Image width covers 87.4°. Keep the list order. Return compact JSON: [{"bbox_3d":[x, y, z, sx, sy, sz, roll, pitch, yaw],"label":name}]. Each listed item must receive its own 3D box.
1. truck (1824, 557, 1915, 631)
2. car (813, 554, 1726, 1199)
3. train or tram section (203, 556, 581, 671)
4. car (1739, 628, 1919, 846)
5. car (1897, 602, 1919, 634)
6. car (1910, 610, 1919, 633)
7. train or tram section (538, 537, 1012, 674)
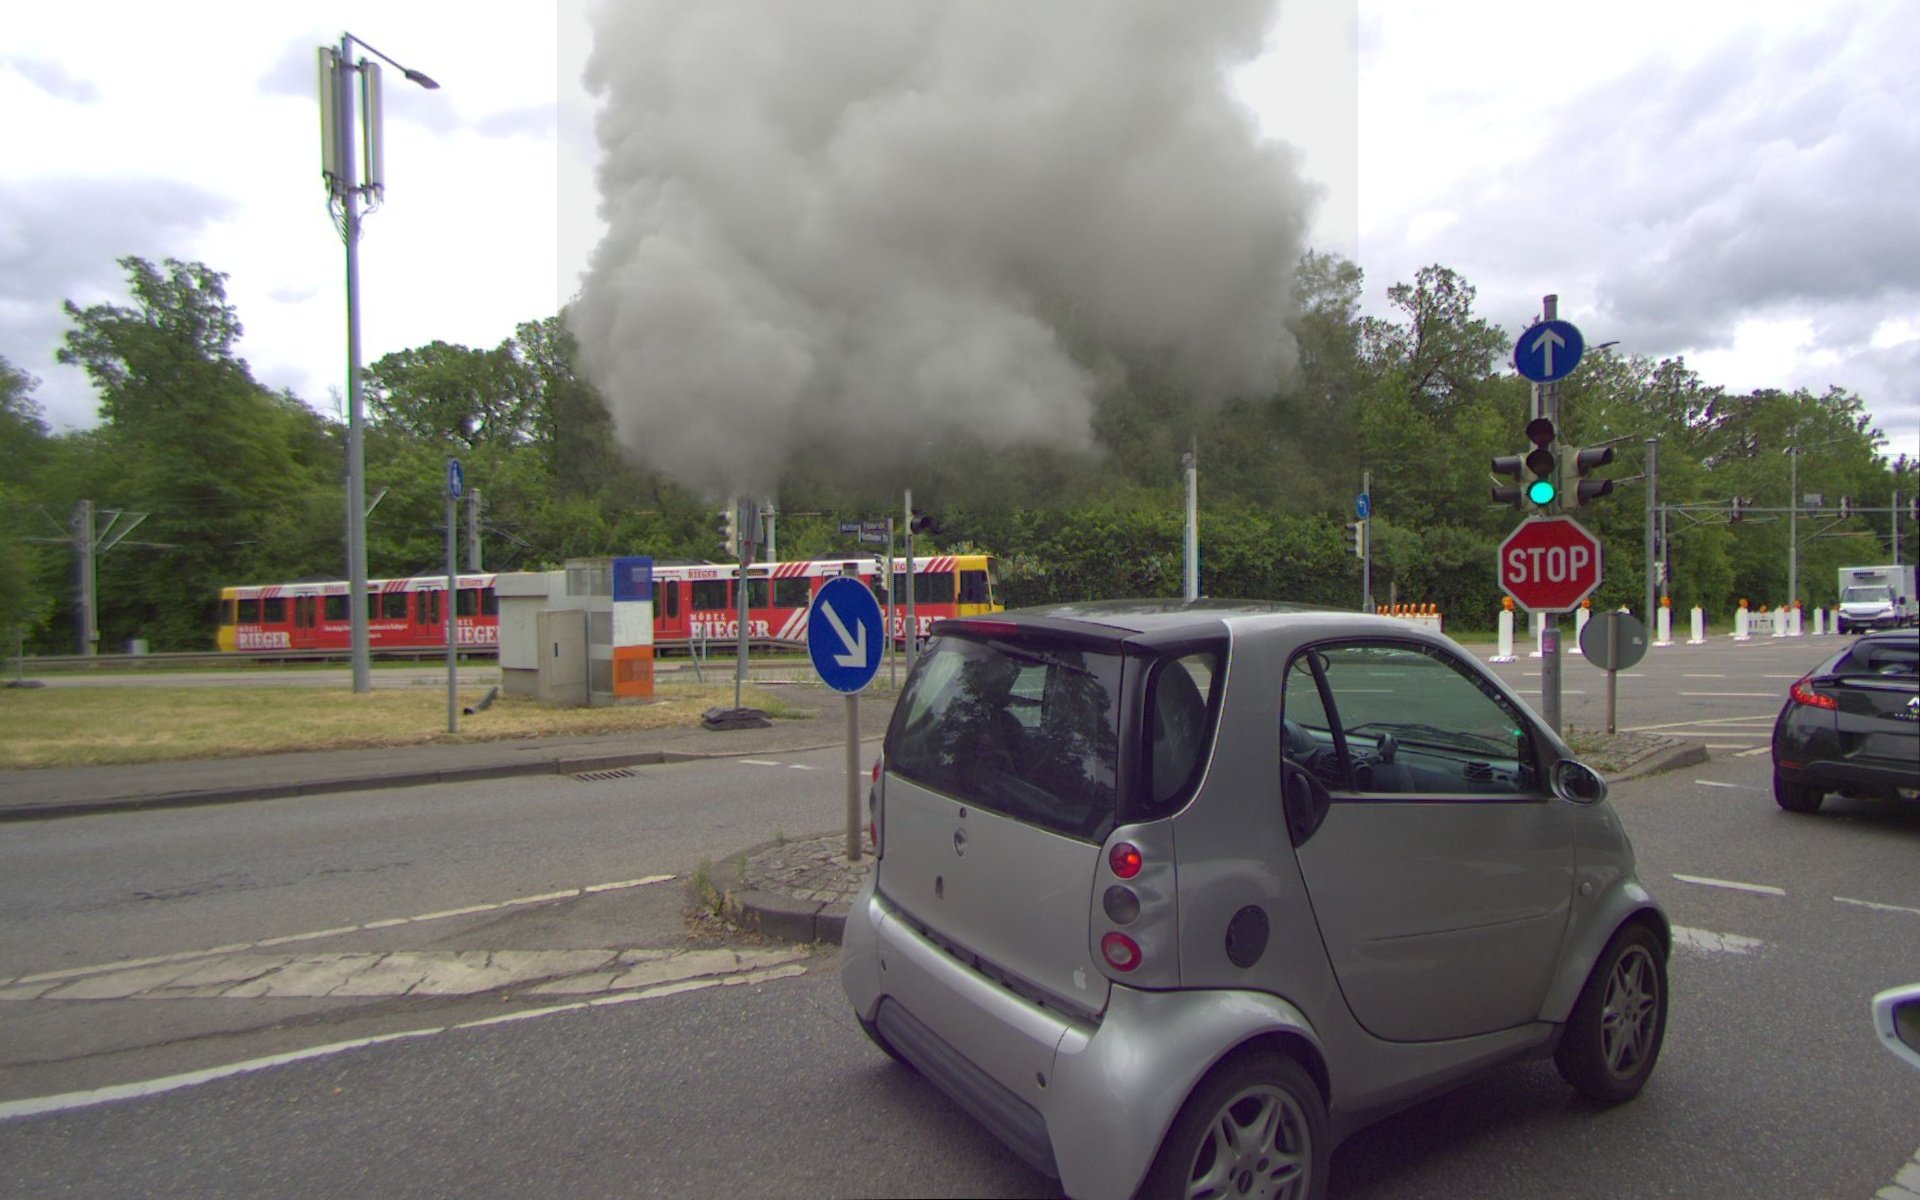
[{"bbox_3d":[43.601,-0.206,48.080,7.100,3.267,2.427,1,-1,-41],"label":"truck"},{"bbox_3d":[1.051,0.739,3.282,2.697,1.607,1.450,0,-1,-32],"label":"car"},{"bbox_3d":[-25.081,0.416,43.804,18.360,4.477,2.966,1,-1,20],"label":"train or tram section"},{"bbox_3d":[7.541,0.915,7.596,3.444,1.379,1.761,1,-1,-37],"label":"car"},{"bbox_3d":[55.038,1.010,57.222,4.808,1.773,1.945,0,0,-41],"label":"car"},{"bbox_3d":[60.923,1.322,62.612,4.649,1.379,1.946,0,-1,-39],"label":"car"},{"bbox_3d":[-7.259,0.118,38.912,18.168,4.712,2.958,1,-1,12],"label":"train or tram section"}]
